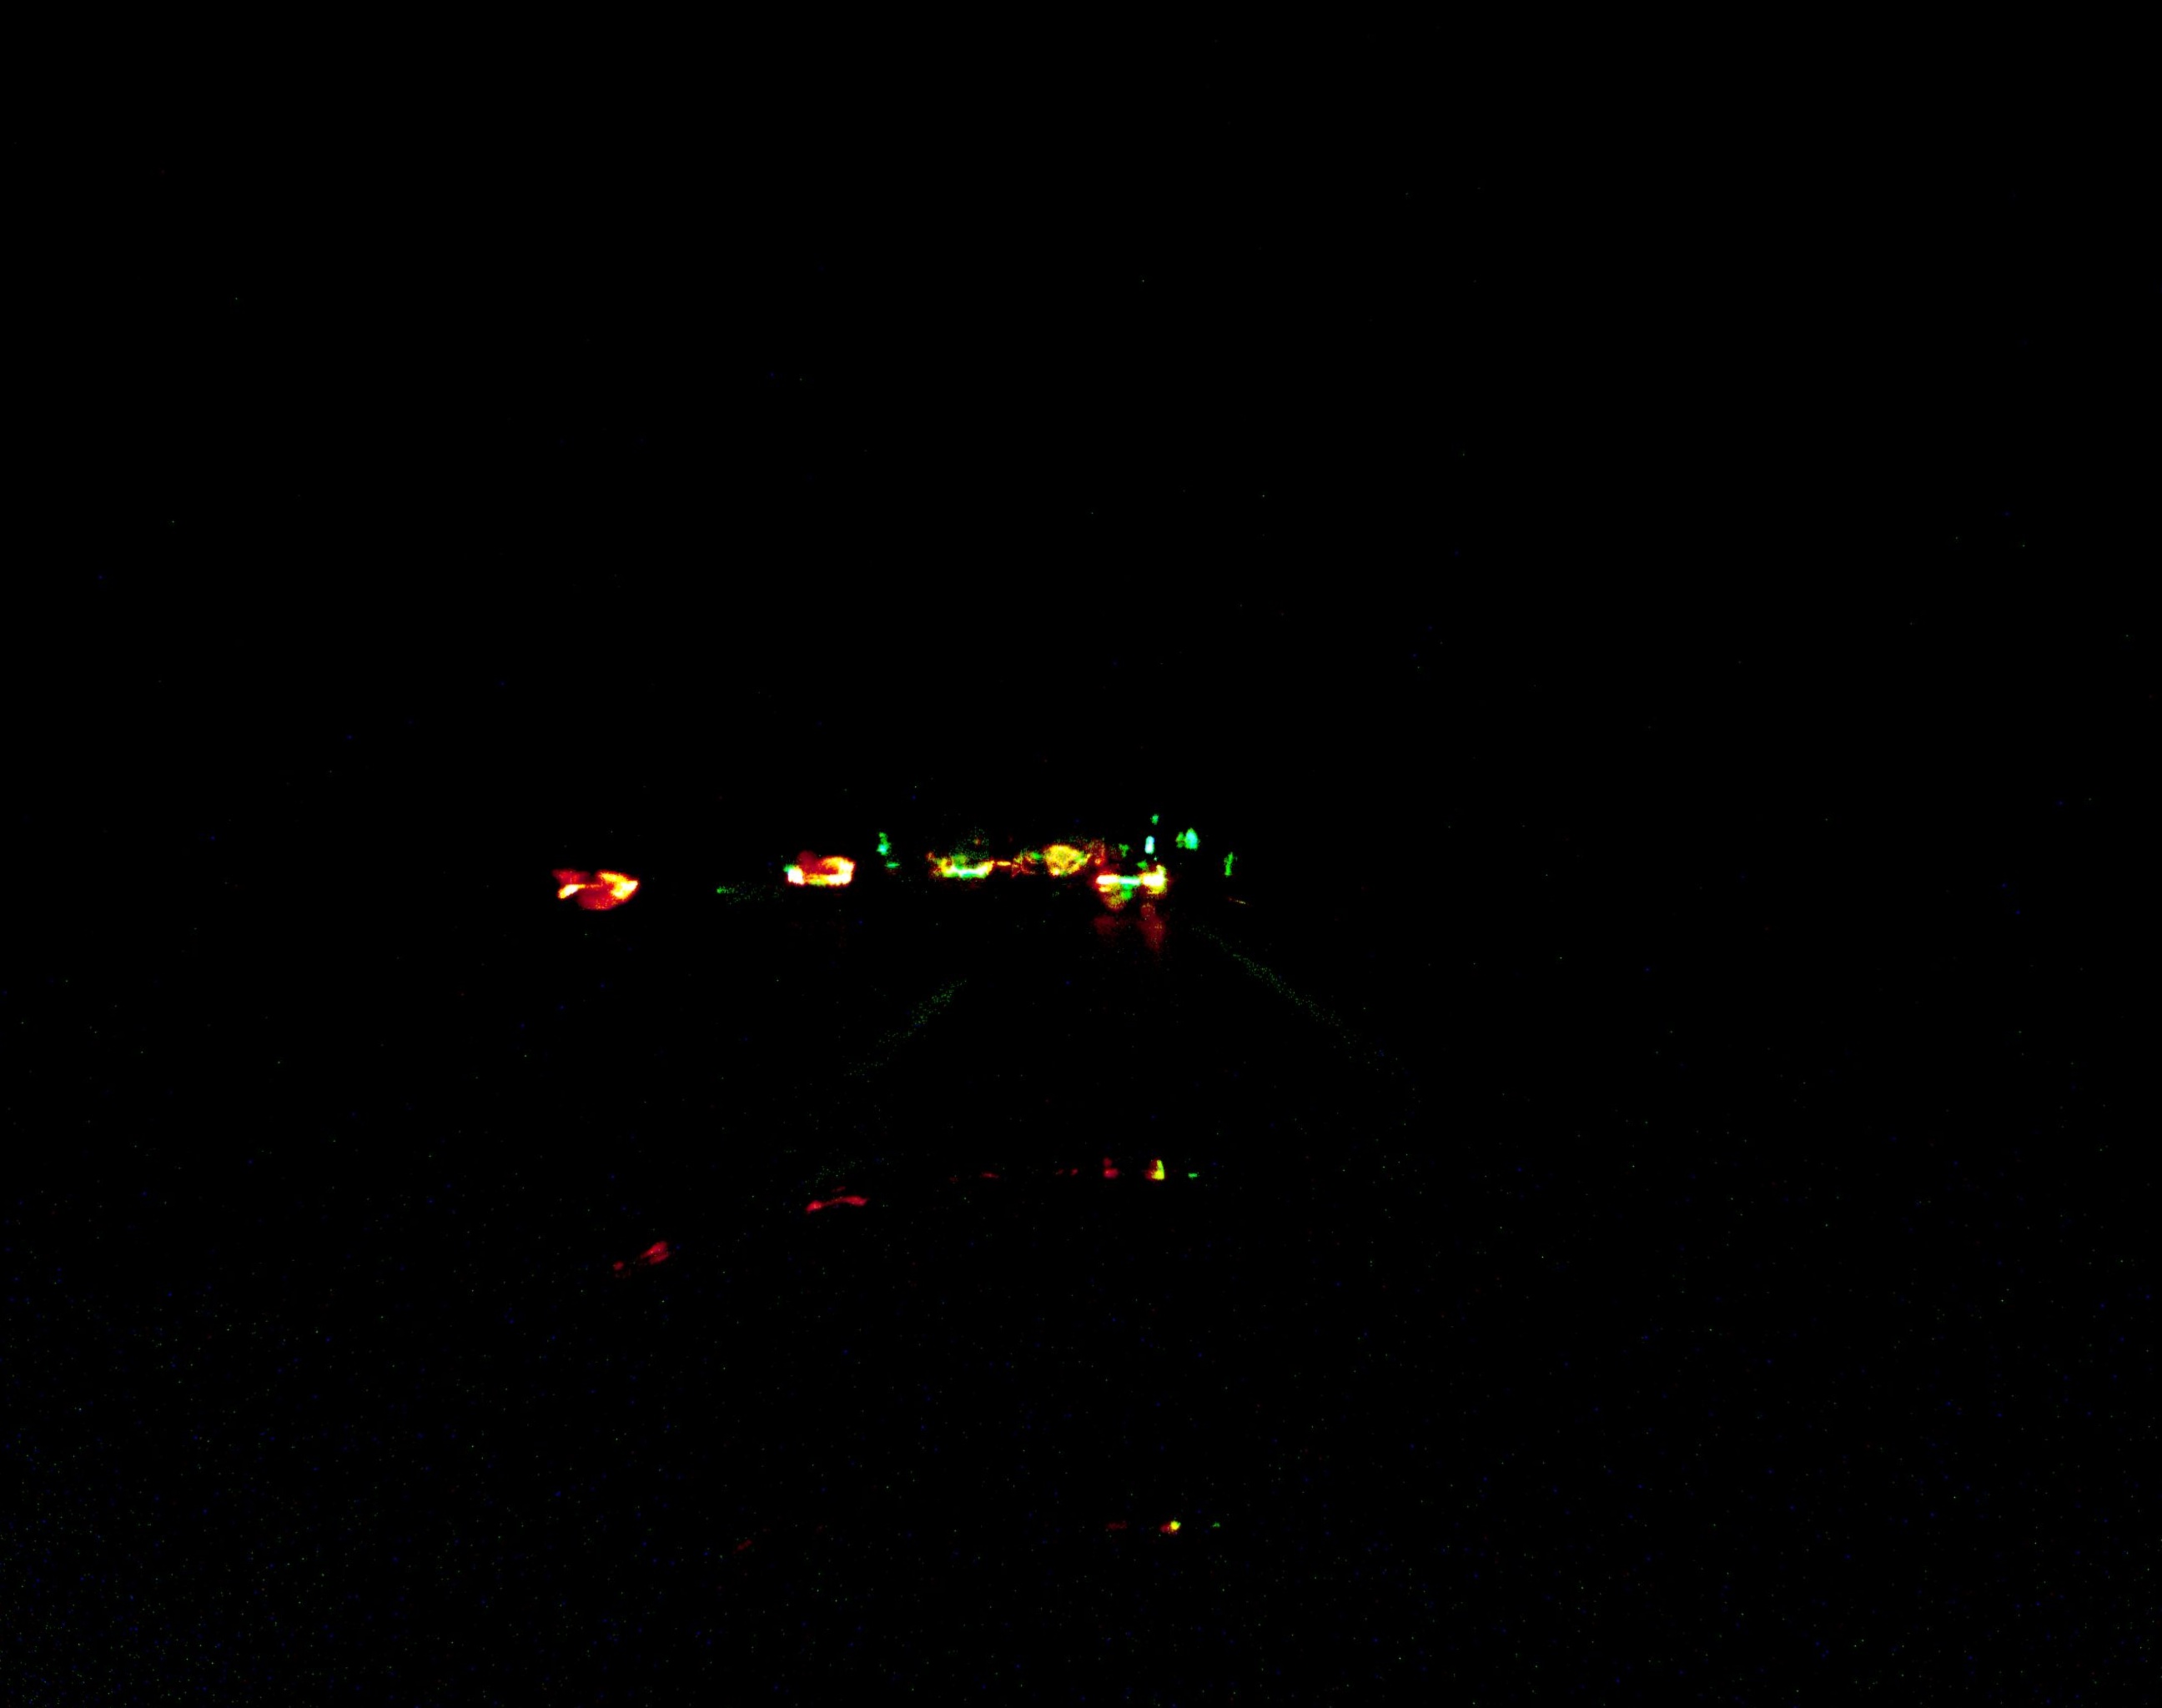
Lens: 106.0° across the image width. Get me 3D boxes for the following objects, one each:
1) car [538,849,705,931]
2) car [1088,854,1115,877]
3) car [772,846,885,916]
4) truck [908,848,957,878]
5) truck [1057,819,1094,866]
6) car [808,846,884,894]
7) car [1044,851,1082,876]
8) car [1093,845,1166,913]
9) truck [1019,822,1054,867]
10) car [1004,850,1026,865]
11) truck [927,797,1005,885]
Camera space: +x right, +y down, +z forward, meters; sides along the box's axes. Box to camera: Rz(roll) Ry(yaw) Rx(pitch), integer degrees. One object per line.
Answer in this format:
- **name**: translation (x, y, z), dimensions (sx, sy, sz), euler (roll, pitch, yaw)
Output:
- **car**: translation (-10.714, 0.762, 19.351), dimensions (1.761, 1.689, 3.997), euler (-1, 1, -2)
- **car**: translation (1.611, 0.844, 63.298), dimensions (1.986, 1.704, 4.460), euler (0, 0, 2)
- **car**: translation (-7.021, 0.695, 23.179), dimensions (2.034, 1.761, 4.510), euler (0, 0, -3)
- **truck**: translation (-11.627, 0.696, 64.410), dimensions (2.849, 2.201, 5.856), euler (0, 0, -1)
- **truck**: translation (-0.688, -1.255, 96.011), dimensions (4.149, 5.215, 9.950), euler (0, 0, -1)
- **car**: translation (-11.061, 0.703, 38.850), dimensions (2.117, 2.104, 5.625), euler (-1, 0, -2)
- **car**: translation (-1.451, 0.797, 68.985), dimensions (2.822, 2.013, 5.513), euler (0, 0, 2)
- **car**: translation (1.356, 0.650, 23.033), dimensions (1.870, 1.762, 4.003), euler (0, 0, 3)
- **truck**: translation (-5.681, -1.164, 106.084), dimensions (4.243, 5.444, 10.877), euler (0, 0, -2)
- **car**: translation (-7.566, 0.413, 93.444), dimensions (1.986, 1.704, 4.460), euler (0, 0, 2)
- **truck**: translation (-6.708, -0.706, 49.146), dimensions (3.647, 4.737, 9.844), euler (0, 0, -2)
